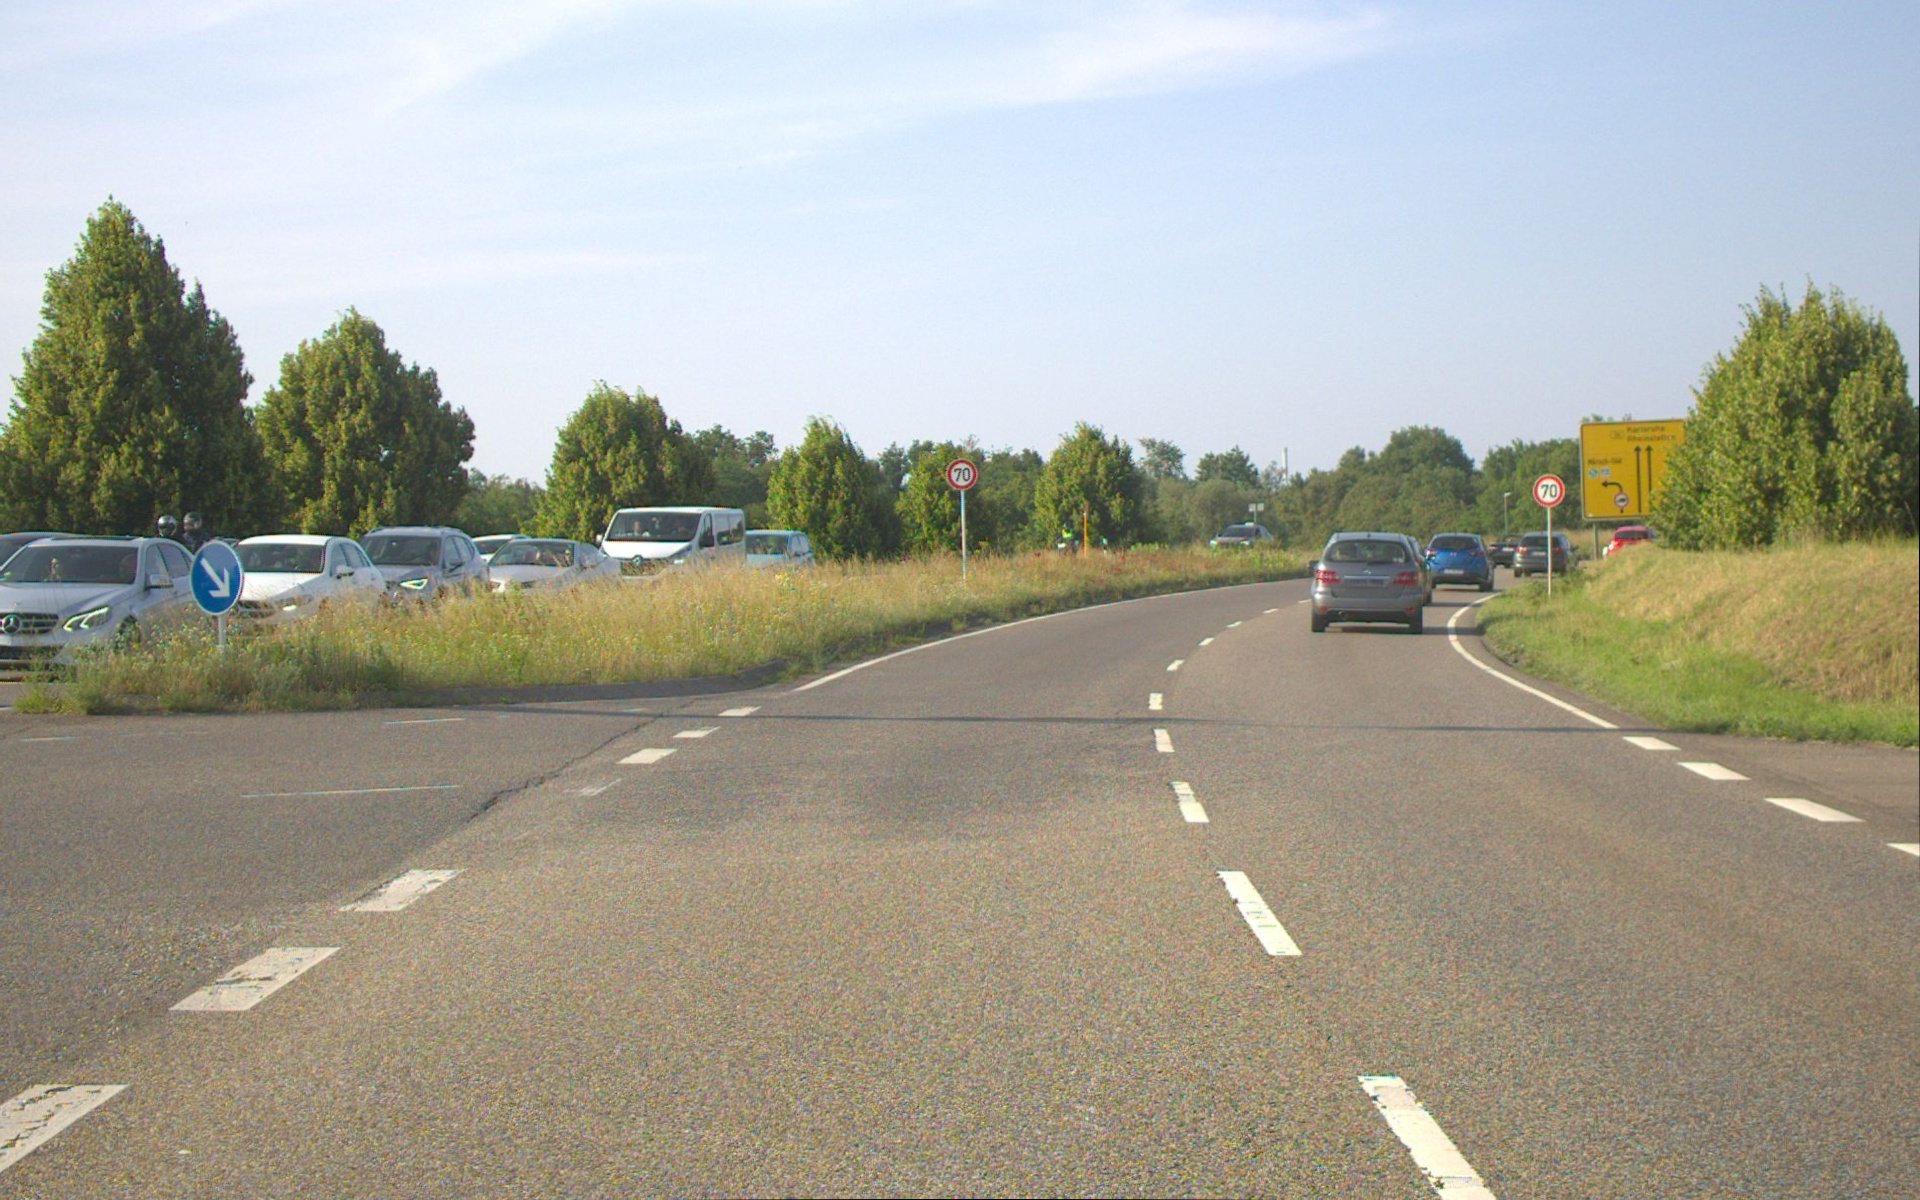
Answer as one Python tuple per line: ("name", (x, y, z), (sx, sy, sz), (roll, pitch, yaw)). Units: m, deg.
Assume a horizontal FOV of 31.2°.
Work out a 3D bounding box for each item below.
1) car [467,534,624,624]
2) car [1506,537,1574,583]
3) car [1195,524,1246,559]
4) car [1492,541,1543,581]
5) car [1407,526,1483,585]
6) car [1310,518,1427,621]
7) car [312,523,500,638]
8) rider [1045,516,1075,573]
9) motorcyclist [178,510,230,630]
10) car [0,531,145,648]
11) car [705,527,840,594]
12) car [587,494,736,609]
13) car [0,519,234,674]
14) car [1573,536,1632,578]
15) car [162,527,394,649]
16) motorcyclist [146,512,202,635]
("car", (-6.661, -0.359, 55.602), (1.786, 1.381, 4.051), (-1, 1, 4))
("car", (18.521, -1.268, 109.641), (1.916, 1.411, 3.793), (0, 0, 13))
("car", (10.711, -2.409, 141.076), (1.406, 1.397, 3.419), (0, 1, 16))
("car", (20.881, -1.475, 128.735), (1.773, 1.487, 3.983), (0, 1, 11))
("car", (12.575, -1.161, 88.928), (1.773, 1.487, 3.983), (0, 1, 11))
("car", (6.646, -0.468, 55.623), (1.785, 1.600, 4.194), (0, 0, 8))
("car", (-7.910, -0.305, 49.456), (1.786, 1.563, 4.051), (-1, 1, 4))
("rider", (3.547, -1.959, 121.797), (0.868, 2.007, 0.771), (0, 1, 15))
("motorcyclist", (-11.478, -0.456, 52.227), (0.662, 1.810, 0.605), (-1, 1, -3))
("car", (-11.958, -0.160, 44.116), (1.786, 1.428, 4.051), (-1, 1, 4))
("car", (-3.981, -0.860, 73.591), (1.787, 1.381, 4.049), (0, 1, 13))
("car", (-5.595, -0.920, 64.985), (1.926, 2.071, 4.242), (-1, 1, 7))
("car", (-9.030, -0.065, 35.497), (1.786, 1.483, 4.651), (-1, 1, 4))
("car", (24.791, -1.648, 132.589), (1.896, 1.559, 4.275), (0, 0, 15))
("car", (-8.494, -0.180, 43.160), (1.786, 1.428, 4.308), (-1, 1, 4))
("motorcyclist", (-11.247, -0.376, 49.204), (0.662, 1.741, 0.605), (-1, 1, -3))
